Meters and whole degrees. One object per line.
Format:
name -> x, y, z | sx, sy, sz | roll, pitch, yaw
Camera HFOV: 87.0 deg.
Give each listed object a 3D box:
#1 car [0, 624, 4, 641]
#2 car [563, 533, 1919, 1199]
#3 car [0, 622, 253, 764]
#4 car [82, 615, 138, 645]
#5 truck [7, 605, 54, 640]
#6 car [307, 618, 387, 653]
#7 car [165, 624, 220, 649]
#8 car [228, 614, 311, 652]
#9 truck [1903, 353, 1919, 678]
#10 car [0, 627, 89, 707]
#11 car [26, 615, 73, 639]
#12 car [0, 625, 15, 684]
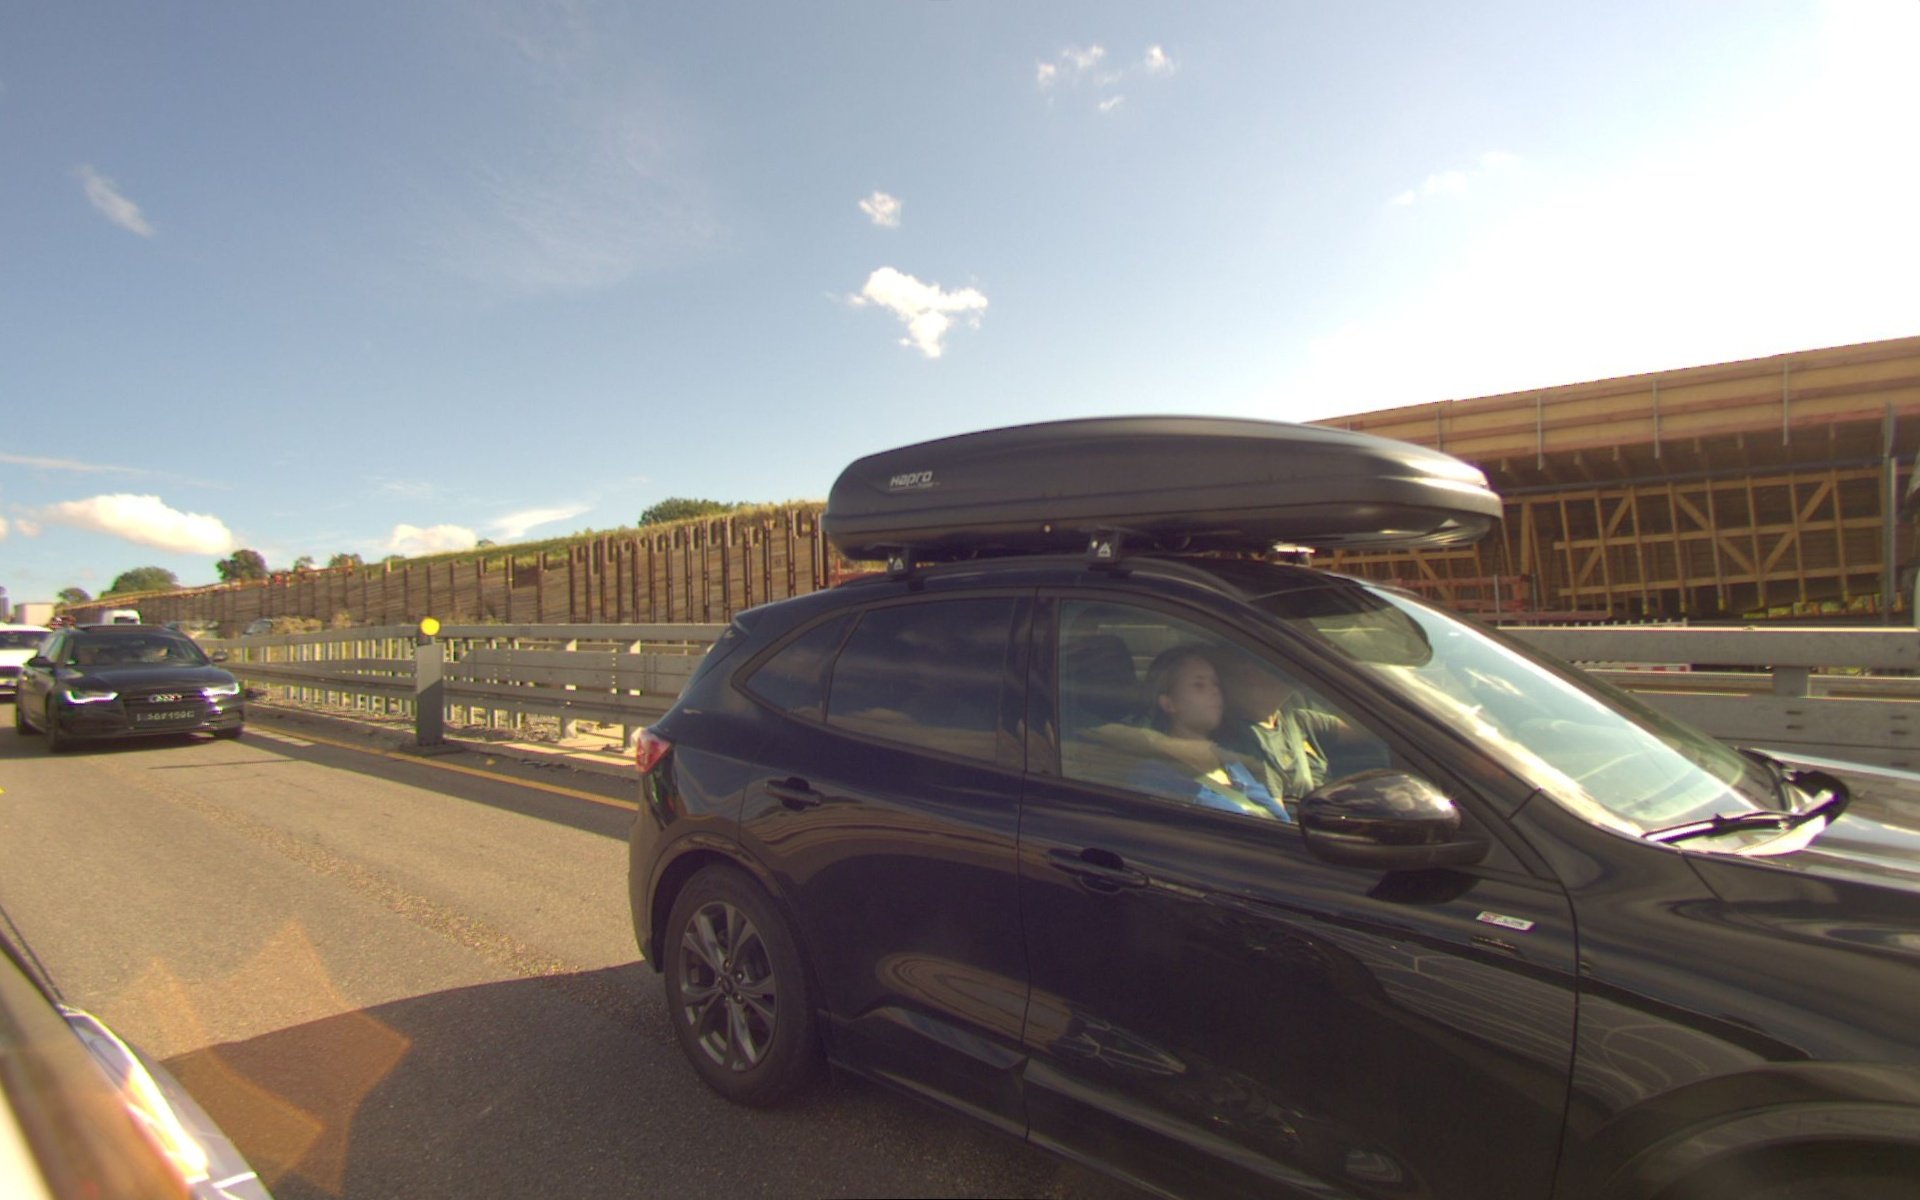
car -> -136.566, 4.592, 142.075 | 6.402, 2.360, 2.850 | -1, 0, 41
car -> 0.905, 0.671, 2.618 | 4.383, 1.554, 1.781 | 0, 2, 42
car -> -10.837, 1.033, 13.029 | 4.505, 1.441, 1.923 | 0, -1, 43
car -> -69.865, 2.414, 83.136 | 6.402, 2.360, 2.539 | -1, 0, 41
truck -> -107.528, 2.510, 117.092 | 8.231, 3.895, 3.137 | -1, 0, 41
car -> -28.758, 1.638, 47.410 | 4.406, 1.441, 1.924 | 0, 1, 41
car -> -49.358, 2.304, 65.027 | 4.406, 1.441, 1.924 | 0, 1, 41
car -> -30.281, 1.406, 44.325 | 4.406, 1.441, 1.924 | 0, 1, 41
truck -> 13.489, -0.974, 10.852 | 4.808, 3.656, 2.812 | -1, 0, 42
car -> -19.115, 1.276, 20.294 | 4.406, 1.441, 1.923 | -1, -2, 41
car -> -92.808, 2.686, 103.137 | 6.402, 2.360, 2.850 | -1, 0, 41
car -> -27.248, 1.473, 27.715 | 3.998, 1.530, 1.637 | -1, 0, 41
